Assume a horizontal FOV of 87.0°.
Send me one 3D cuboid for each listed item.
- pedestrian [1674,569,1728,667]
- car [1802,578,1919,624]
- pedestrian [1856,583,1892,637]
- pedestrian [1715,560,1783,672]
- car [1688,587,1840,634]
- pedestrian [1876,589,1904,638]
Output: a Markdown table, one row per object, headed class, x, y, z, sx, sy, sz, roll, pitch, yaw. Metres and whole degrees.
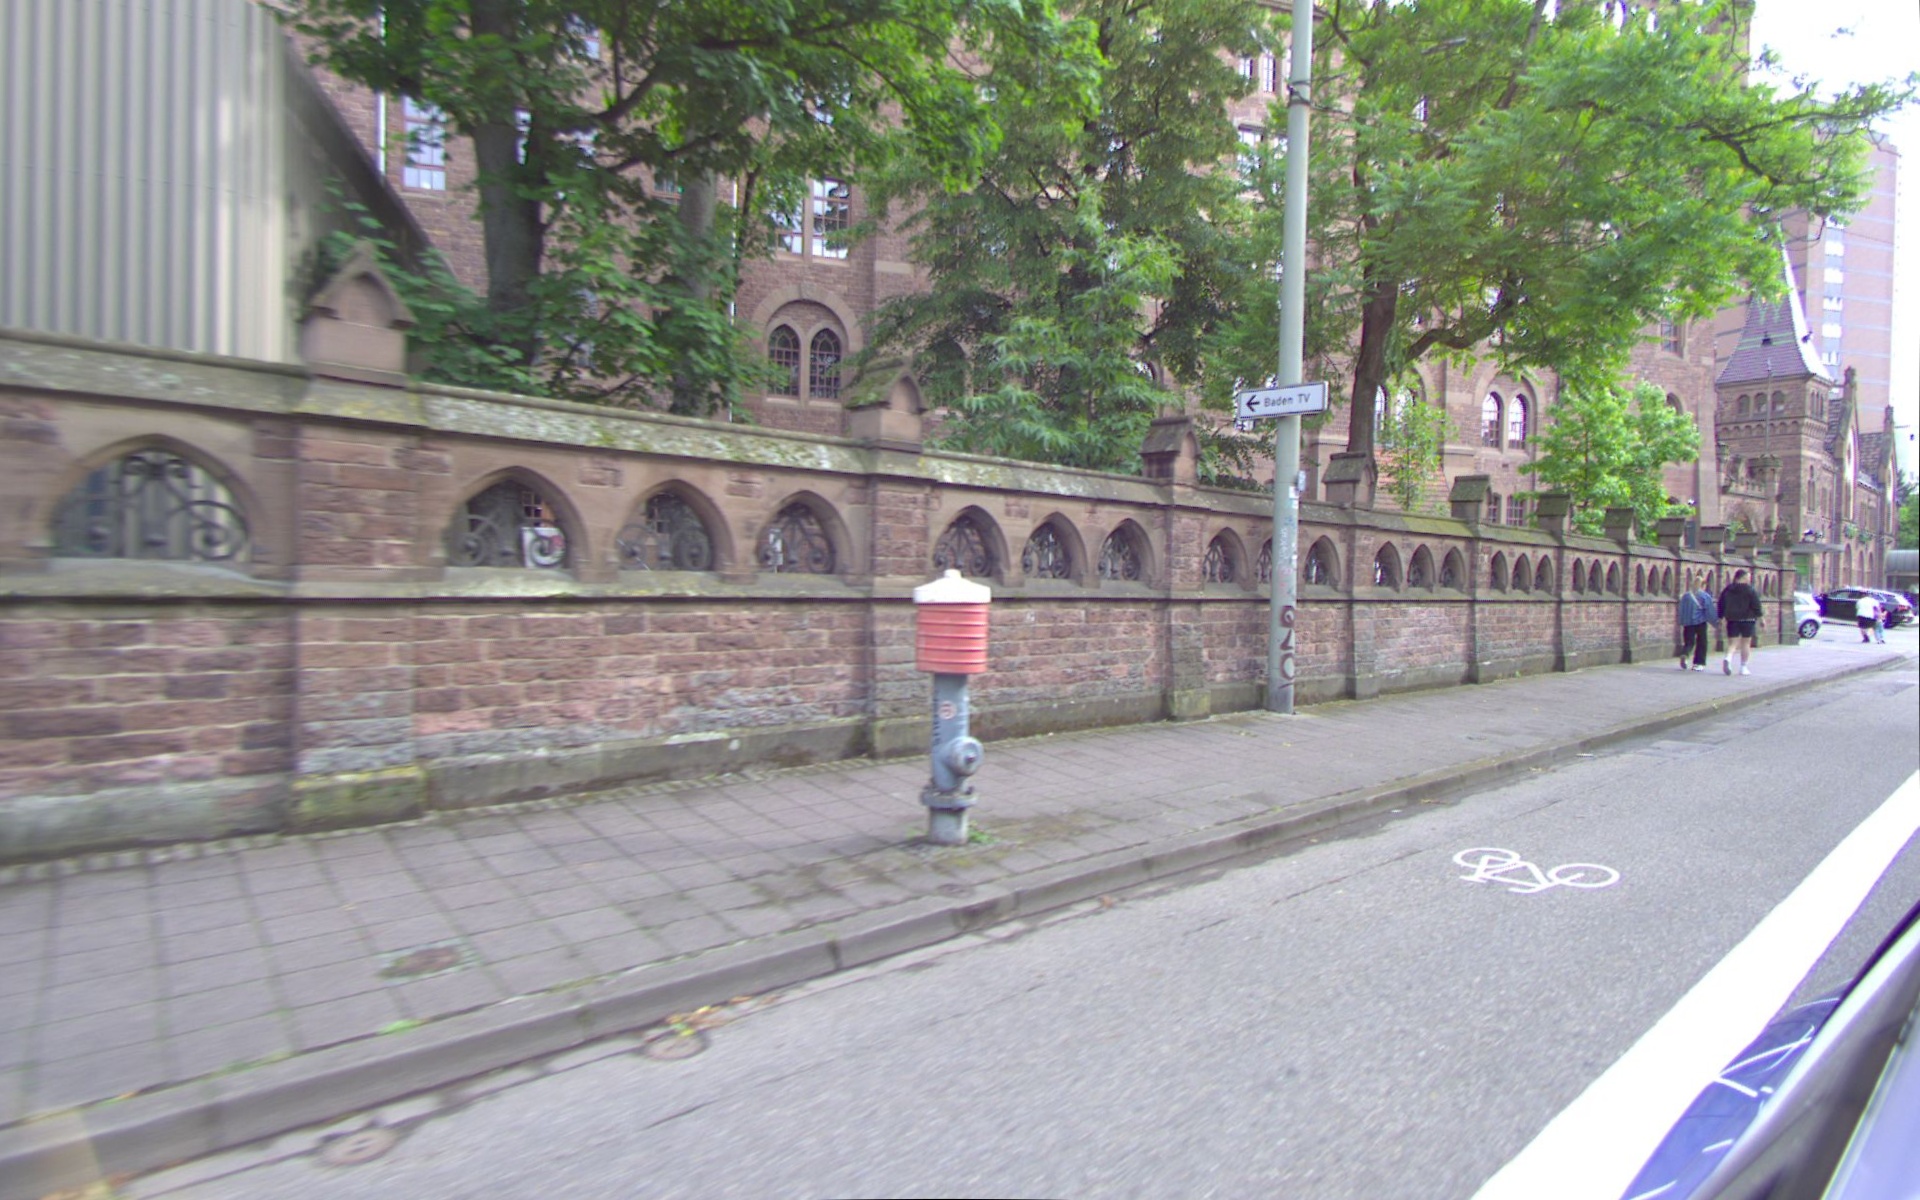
| class | x | y | z | sx | sy | sz | roll | pitch | yaw |
| --- | --- | --- | --- | --- | --- | --- | --- | --- | --- |
| pedestrian | 13.246 | 0.307 | 18.091 | 0.759 | 1.675 | 0.558 | 0 | 3 | -43 |
| car | 40.639 | 0.026 | 45.261 | 1.960 | 1.636 | 4.009 | 1 | 5 | -29 |
| pedestrian | 30.336 | 0.319 | 33.595 | 0.981 | 1.733 | 0.669 | -1 | 6 | -43 |
| pedestrian | 13.721 | 0.252 | 17.604 | 0.883 | 1.866 | 0.722 | -1 | 4 | -43 |
| car | 28.154 | 0.339 | 35.523 | 3.921 | 1.593 | 1.856 | 0 | 1 | -4 |
| pedestrian | 30.647 | 0.441 | 33.344 | 0.481 | 1.575 | 0.529 | -1 | 6 | -43 |
